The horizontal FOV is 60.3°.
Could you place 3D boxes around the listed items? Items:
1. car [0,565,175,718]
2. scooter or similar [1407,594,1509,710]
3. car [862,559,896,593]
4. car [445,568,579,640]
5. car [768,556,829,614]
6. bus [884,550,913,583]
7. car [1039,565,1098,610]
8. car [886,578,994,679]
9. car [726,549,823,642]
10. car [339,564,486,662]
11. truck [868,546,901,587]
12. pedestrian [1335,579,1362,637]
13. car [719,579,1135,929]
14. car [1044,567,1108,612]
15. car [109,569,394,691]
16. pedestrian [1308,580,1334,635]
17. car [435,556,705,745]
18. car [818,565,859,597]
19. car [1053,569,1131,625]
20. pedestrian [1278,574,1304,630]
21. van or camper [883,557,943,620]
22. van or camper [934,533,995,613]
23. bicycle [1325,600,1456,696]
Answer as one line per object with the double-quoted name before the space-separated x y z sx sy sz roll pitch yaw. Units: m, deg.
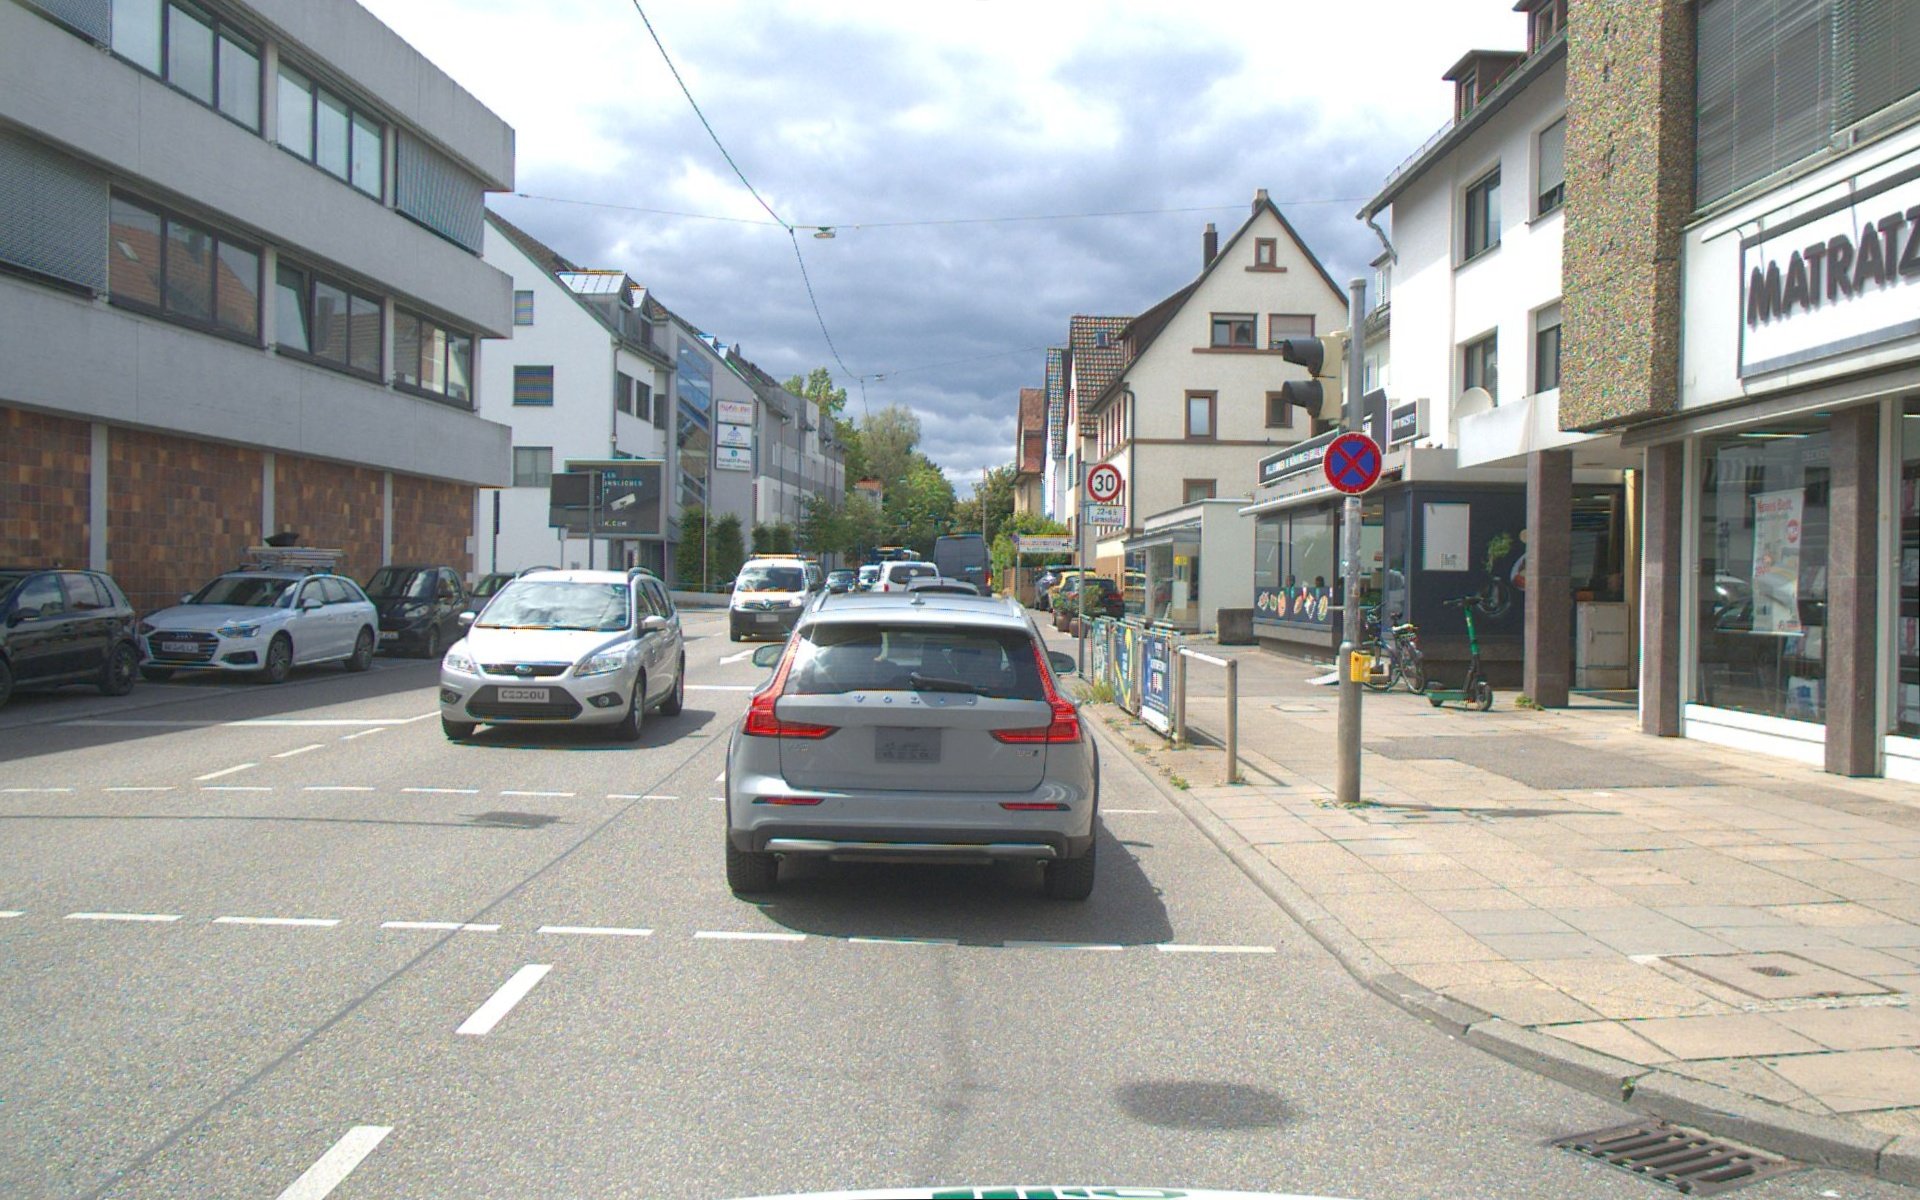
"car" -10.383 0.382 17.790 1.748 1.490 4.088 2 1 2
"scooter or similar" 5.727 0.582 19.064 0.336 1.275 1.235 -2 0 -27
"car" -4.784 -1.402 97.972 1.761 1.847 3.999 1 -1 0
"car" -9.519 0.048 35.404 1.719 1.451 3.863 0 1 1
"car" -5.625 -0.517 58.105 1.801 1.951 4.530 0 1 -2
"bus" -5.175 -2.845 139.944 2.229 2.714 7.429 0 1 0
"car" 3.935 -0.427 60.586 1.844 1.526 3.971 1 -1 0
"car" -0.352 0.414 26.917 1.617 1.508 3.606 1 0 -2
"car" -4.143 -0.118 37.487 1.801 1.951 4.155 1 0 -2
"car" -9.555 0.191 29.051 1.575 1.570 2.944 2 1 -1
"truck" -5.603 -2.494 123.598 2.229 2.937 7.079 0 1 0
"pedestrian" 7.205 0.141 30.654 0.406 1.070 0.367 0 1 -3
"car" -0.200 0.651 9.222 1.799 1.512 3.999 1 1 -2
"car" 3.899 -0.337 56.244 1.844 1.440 3.971 1 -1 0
"car" -9.729 0.333 23.148 1.864 1.468 4.445 2 1 3
"pedestrian" 6.992 0.142 32.020 0.406 1.070 0.367 0 1 -3
"car" -3.630 0.390 16.117 1.634 1.581 4.215 1 1 0
"car" -5.699 -0.908 77.822 1.727 1.451 3.999 0 1 -2
"car" 3.705 -0.055 47.087 1.676 1.490 3.997 1 -1 -3
"pedestrian" 6.292 0.036 31.436 0.406 1.070 0.367 0 1 -3
"van or camper" -1.487 -0.322 51.976 1.782 1.867 3.998 1 -1 -2
"van or camper" 0.142 -0.957 58.687 2.080 2.733 4.781 0 1 0
"bicycle" 5.705 0.603 22.065 0.546 1.164 2.288 -1 1 -19
